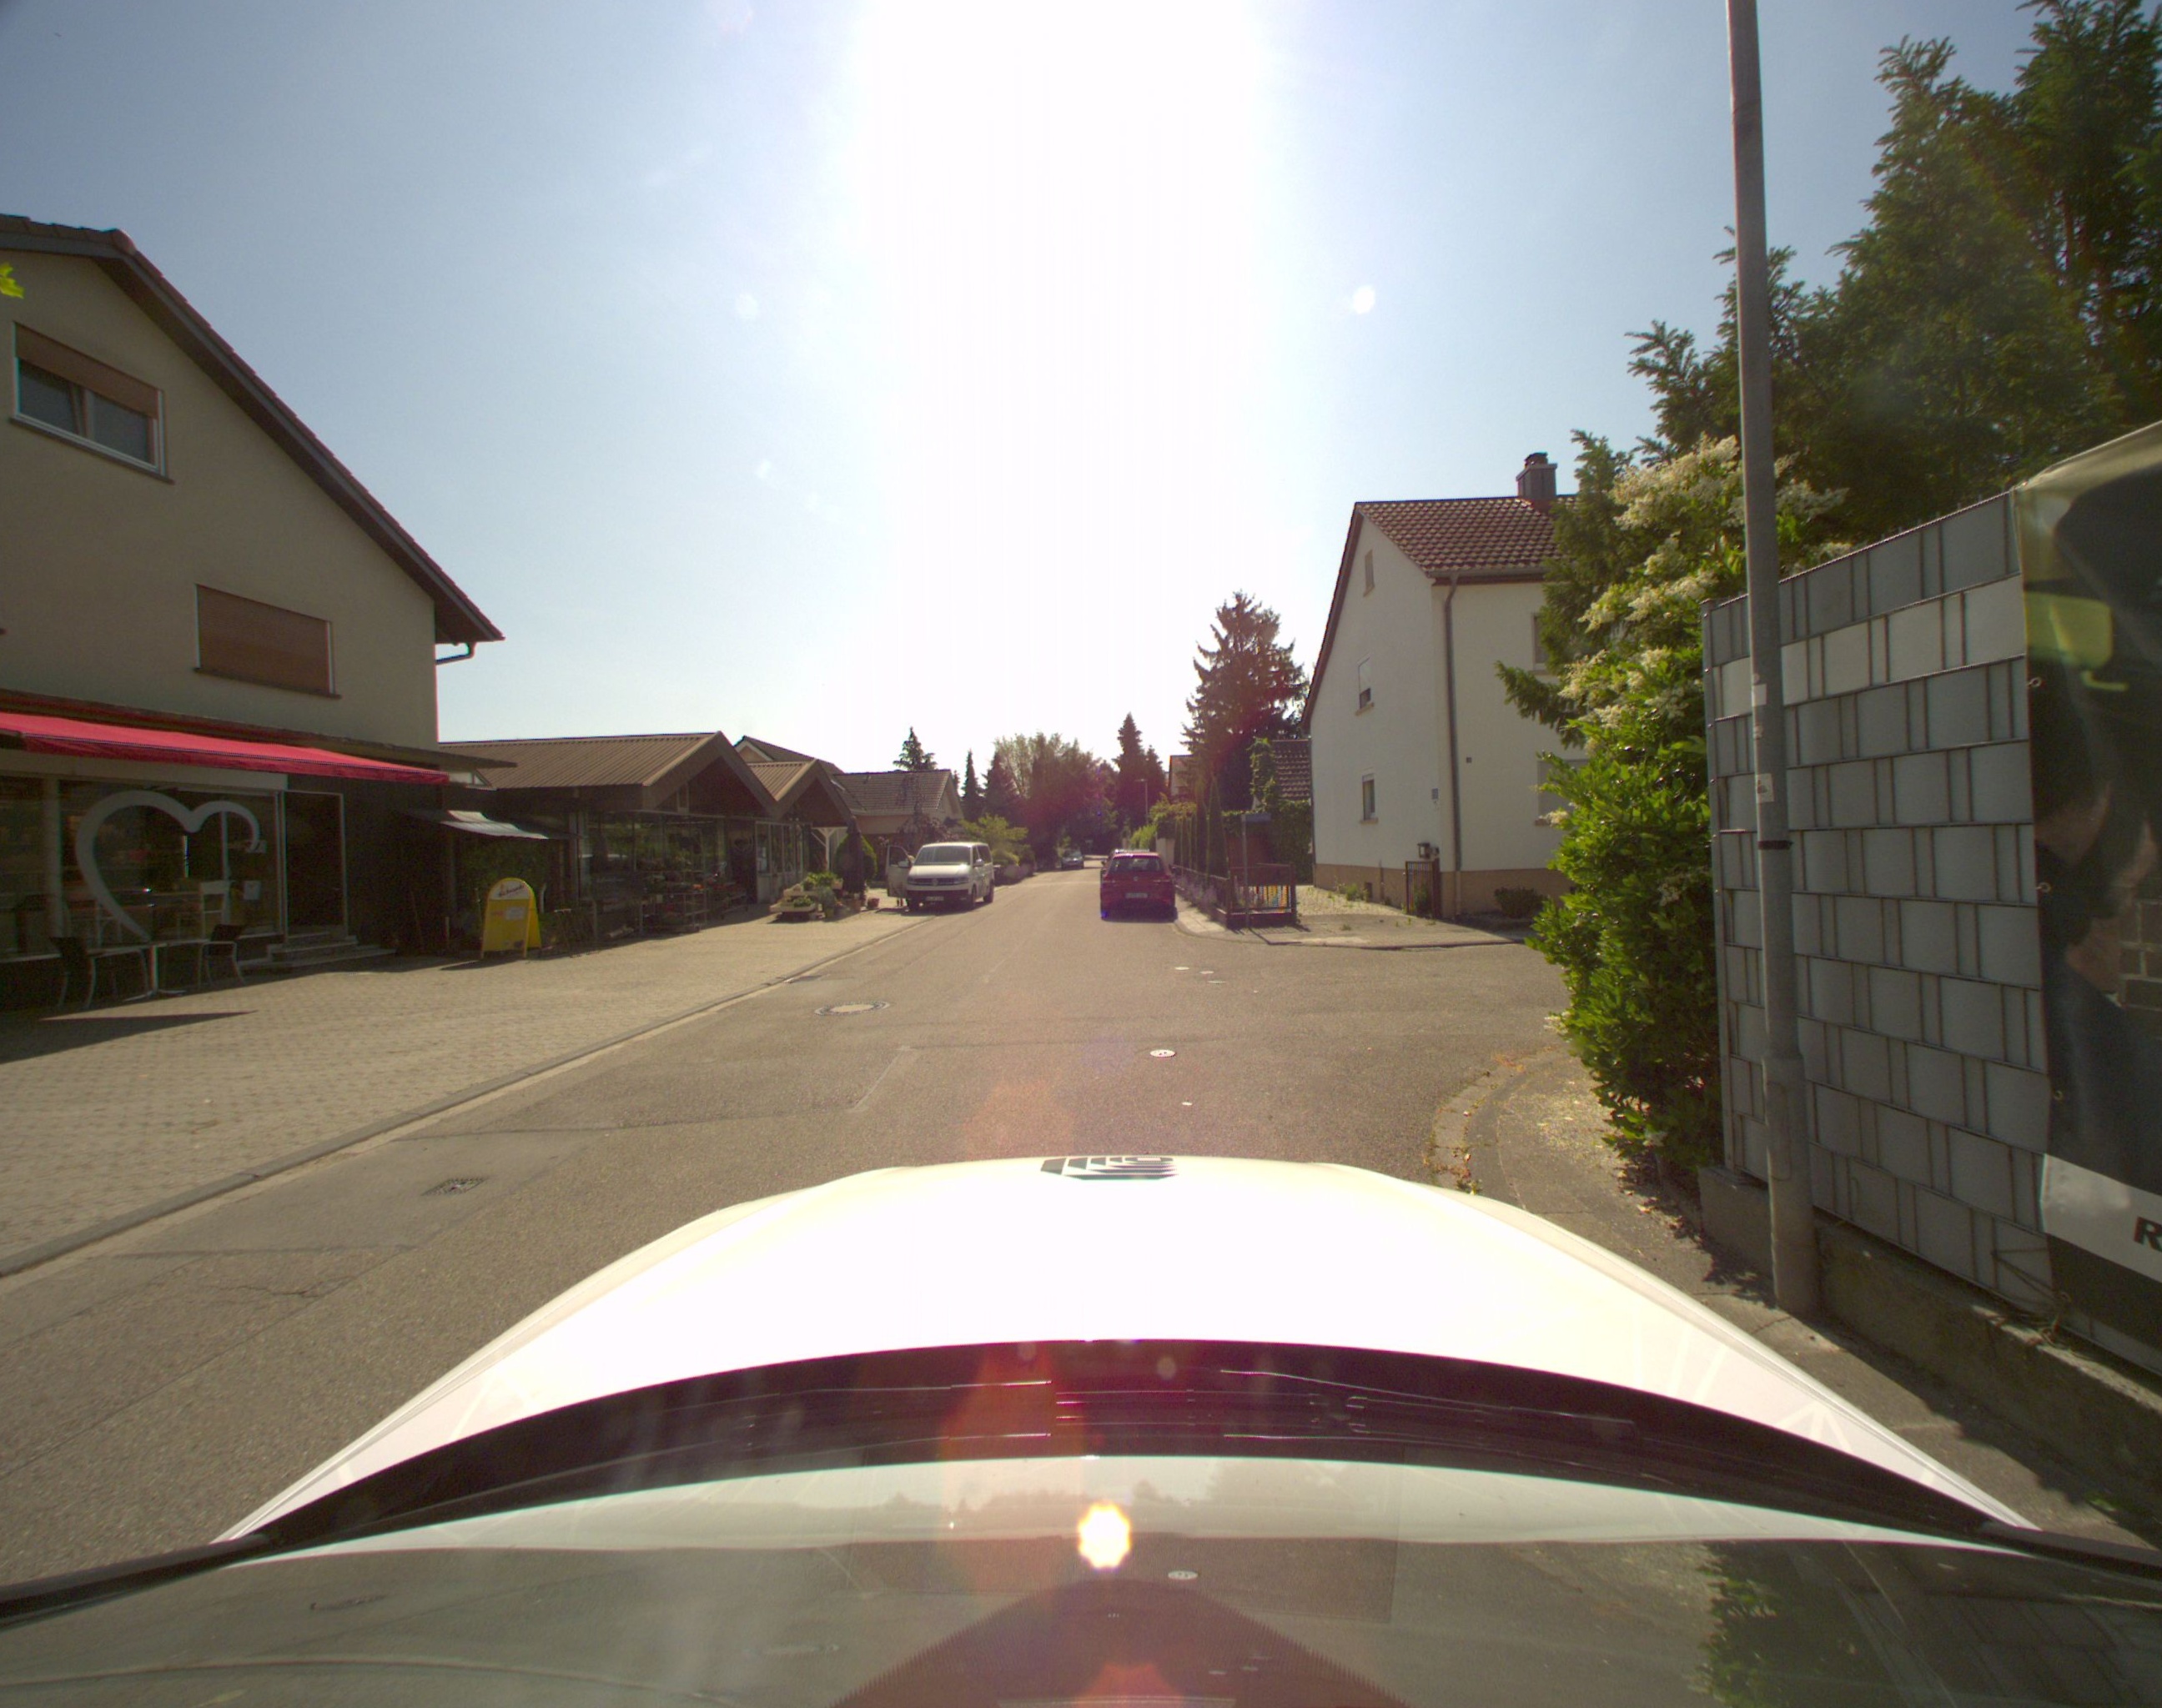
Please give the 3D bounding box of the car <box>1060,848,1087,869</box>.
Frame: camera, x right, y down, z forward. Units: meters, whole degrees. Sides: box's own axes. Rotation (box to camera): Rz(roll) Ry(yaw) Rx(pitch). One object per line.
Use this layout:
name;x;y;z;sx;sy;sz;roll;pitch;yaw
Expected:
car;-0.569;0.325;61.952;1.745;1.487;4.379;-2;0;3

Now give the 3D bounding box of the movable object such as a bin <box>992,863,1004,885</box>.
movable object such as a bin;-3.925;0.930;38.482;0.492;1.024;0.448;-2;0;2

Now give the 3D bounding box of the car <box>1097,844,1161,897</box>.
car;1.520;0.505;27.202;1.817;1.615;3.999;-1;0;-1

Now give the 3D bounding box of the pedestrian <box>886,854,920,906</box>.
pedestrian;-5.394;0.778;24.713;0.710;1.538;0.646;-1;1;35

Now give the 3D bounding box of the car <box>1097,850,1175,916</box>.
car;1.426;0.644;20.380;1.767;1.479;4.006;0;0;5

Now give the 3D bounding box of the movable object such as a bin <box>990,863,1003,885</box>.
movable object such as a bin;-3.940;0.934;38.020;0.492;1.024;0.448;-2;0;2

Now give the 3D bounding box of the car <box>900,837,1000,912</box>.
car;-3.838;0.545;24.848;1.920;2.013;4.900;-2;0;3
